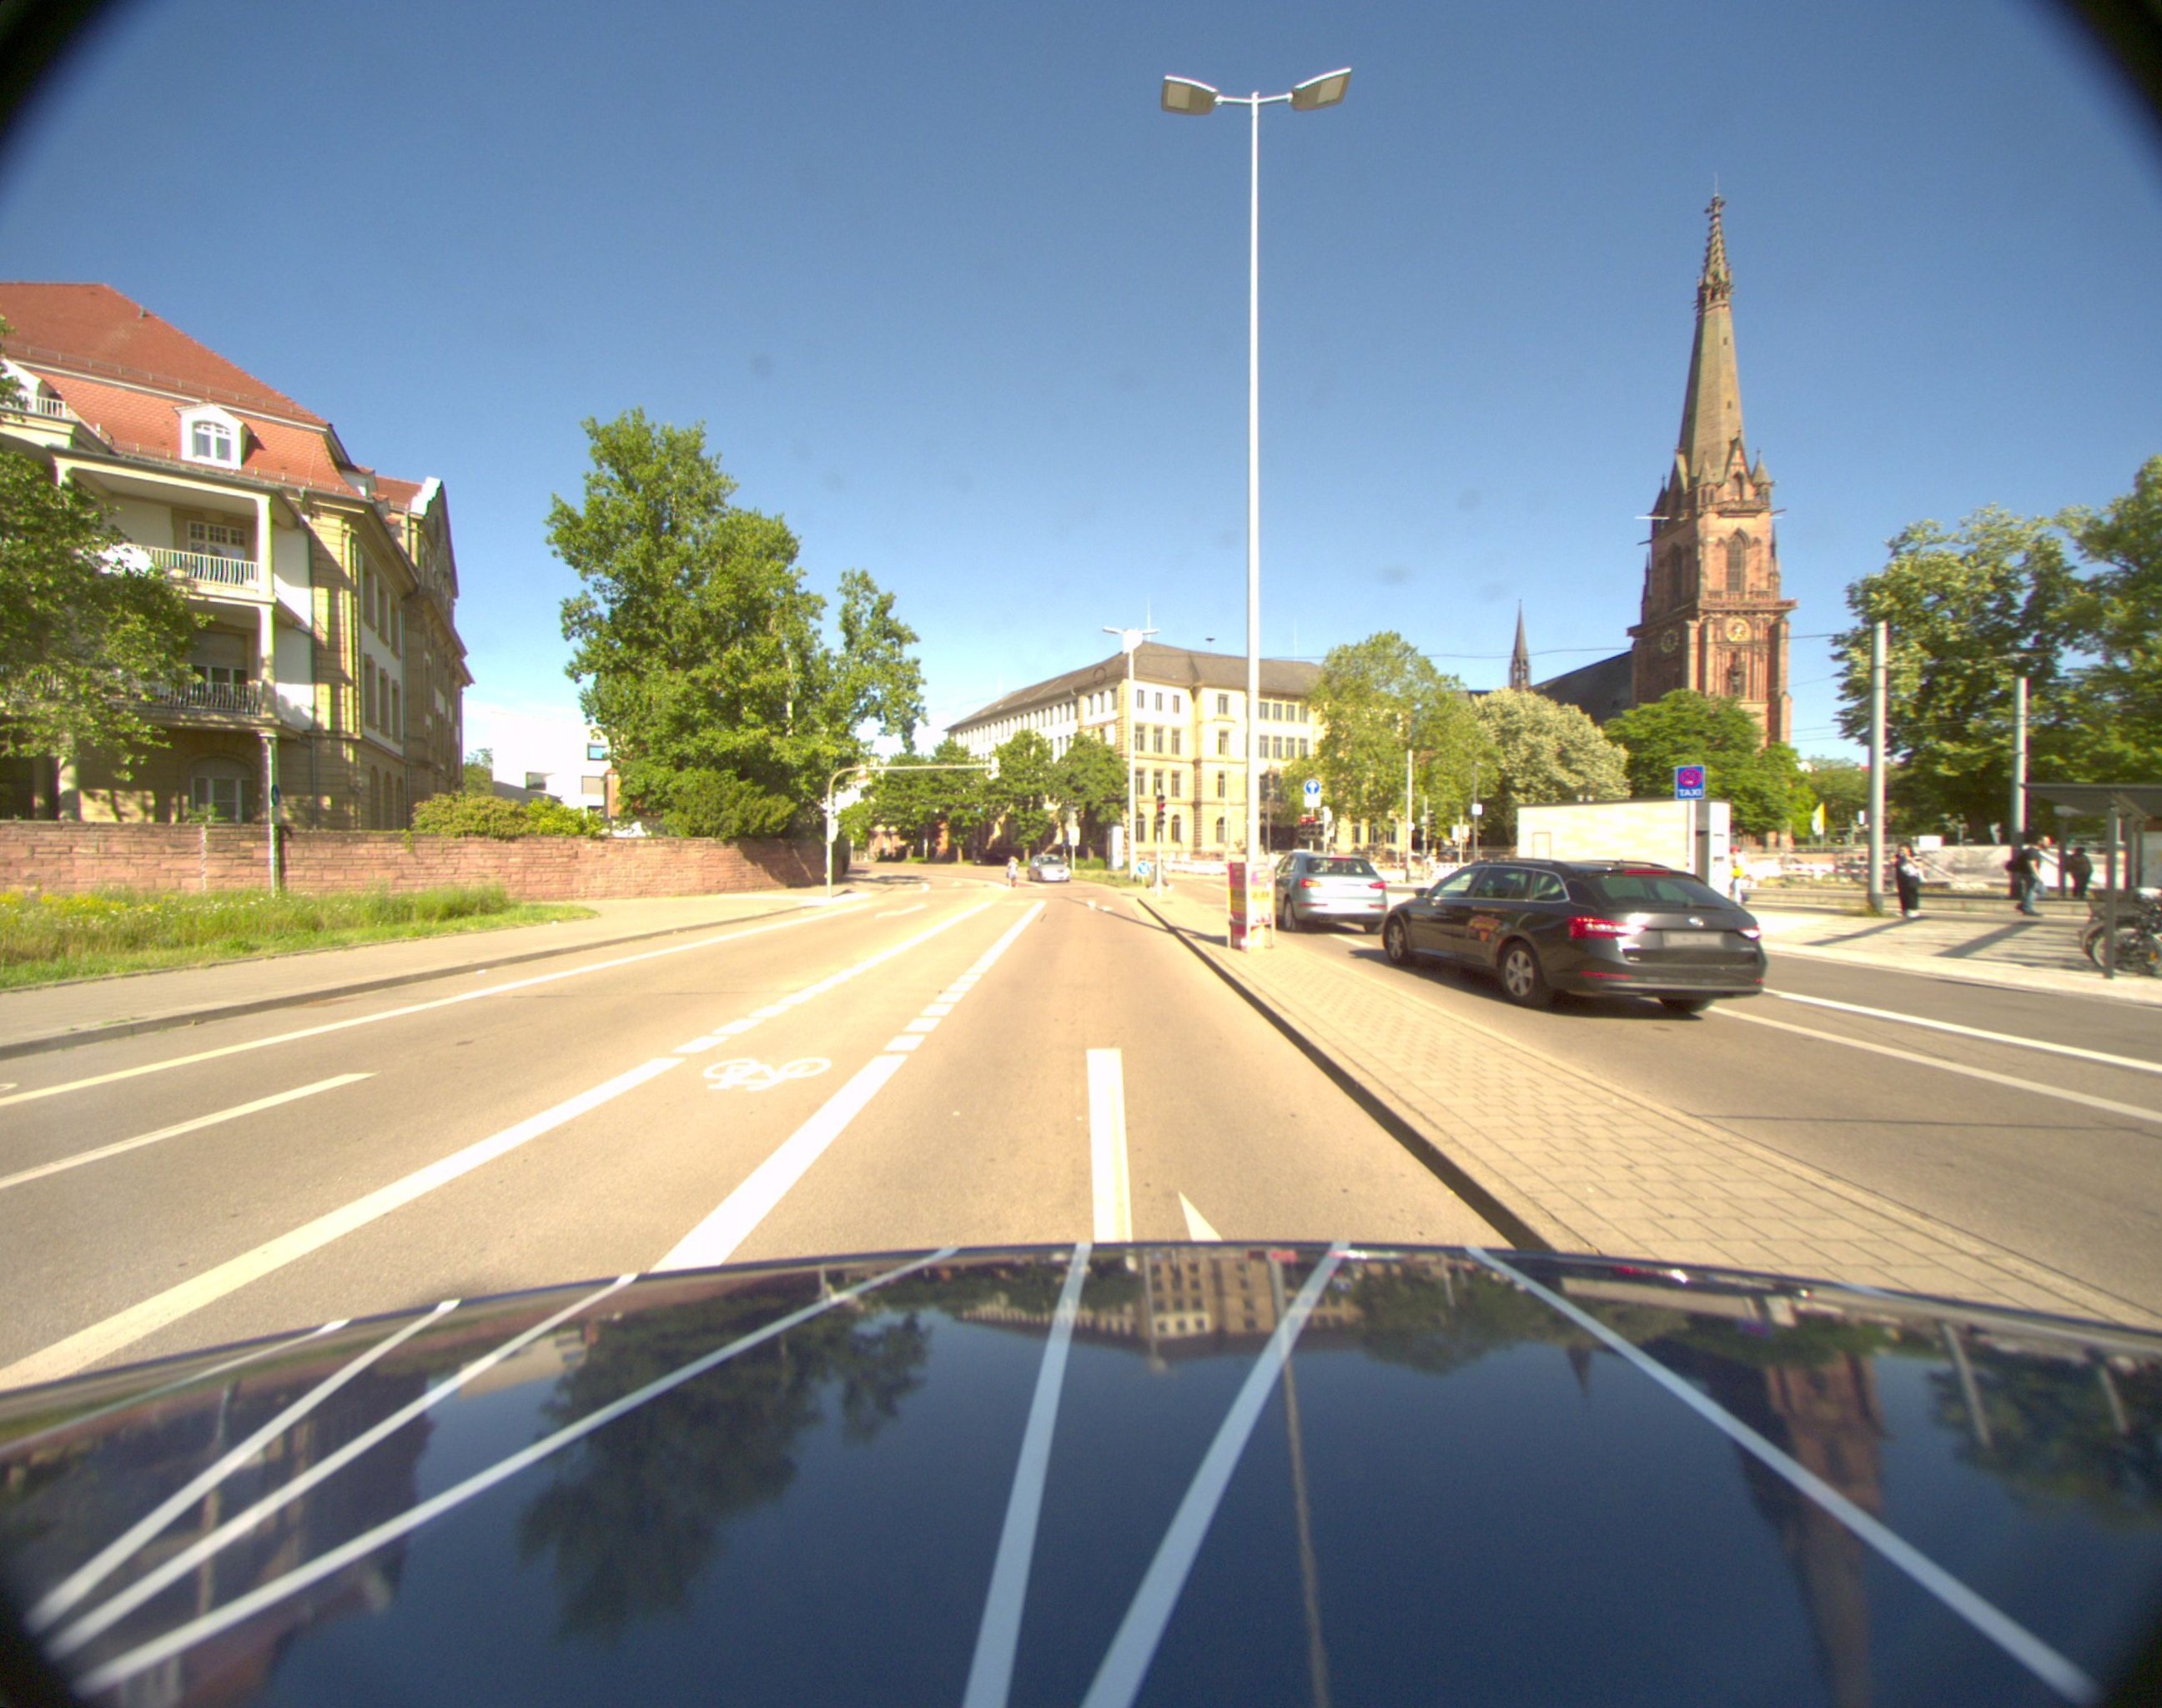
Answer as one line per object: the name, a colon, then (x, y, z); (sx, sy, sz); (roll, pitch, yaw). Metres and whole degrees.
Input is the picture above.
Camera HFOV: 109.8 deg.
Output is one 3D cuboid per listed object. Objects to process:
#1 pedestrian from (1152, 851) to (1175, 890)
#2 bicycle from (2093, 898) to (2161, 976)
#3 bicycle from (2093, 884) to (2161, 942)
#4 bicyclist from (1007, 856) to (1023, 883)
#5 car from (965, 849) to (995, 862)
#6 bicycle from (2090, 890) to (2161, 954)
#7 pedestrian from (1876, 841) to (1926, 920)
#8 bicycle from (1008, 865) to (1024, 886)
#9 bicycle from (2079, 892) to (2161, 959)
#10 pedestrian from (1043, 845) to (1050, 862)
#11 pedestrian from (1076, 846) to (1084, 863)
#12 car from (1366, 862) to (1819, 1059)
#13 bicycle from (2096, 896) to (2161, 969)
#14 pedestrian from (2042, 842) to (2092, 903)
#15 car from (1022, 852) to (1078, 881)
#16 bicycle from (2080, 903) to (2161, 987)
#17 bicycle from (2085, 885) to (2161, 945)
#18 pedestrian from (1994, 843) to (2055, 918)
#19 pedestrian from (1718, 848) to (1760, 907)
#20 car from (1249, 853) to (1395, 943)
pedestrian: (3.548, 0.701, 32.684); (0.932, 1.657, 0.630); (0, 1, -1)
bicycle: (15.029, 1.168, 10.204); (0.407, 0.993, 1.678); (-3, 3, -33)
bicycle: (19.513, 1.067, 13.575); (0.407, 0.993, 1.679); (-3, 2, -33)
bicyclist: (-3.444, 0.805, 39.713); (0.741, 1.363, 0.626); (-2, 1, -6)
car: (-12.034, 0.144, 90.358); (1.839, 1.587, 3.989); (-1, 1, -37)
bicycle: (17.964, 1.139, 12.455); (0.407, 0.993, 1.679); (-3, 2, -33)
pedestrian: (19.588, 0.612, 18.149); (0.703, 1.849, 0.619); (-1, 1, -26)
bicycle: (-3.427, 1.122, 39.732); (0.741, 0.989, 2.305); (-2, 1, -6)
bicycle: (17.184, 1.143, 12.008); (0.407, 0.993, 1.679); (-3, 2, -33)
pedestrian: (-3.954, -0.054, 86.714); (0.557, 2.002, 0.645); (-1, 1, -37)
pedestrian: (-0.087, 0.047, 78.803); (0.540, 1.710, 0.545); (-1, 1, -37)
car: (5.087, 0.901, 8.613); (1.818, 1.496, 4.783); (2, 0, -1)
bicycle: (16.128, 1.184, 10.995); (0.407, 0.993, 1.678); (-3, 3, -33)
pedestrian: (30.499, 0.553, 23.507); (0.619, 1.849, 0.703); (0, 1, 11)
car: (-1.922, 0.716, 45.168); (2.001, 1.580, 4.844); (-3, 1, -19)
bicycle: (13.984, 1.190, 9.547); (0.407, 0.993, 1.678); (-3, 3, -33)
bicycle: (19.027, 1.086, 13.333); (0.407, 0.993, 1.679); (-3, 2, -33)
pedestrian: (22.024, 0.600, 17.741); (0.622, 1.717, 0.831); (-1, 1, -36)
pedestrian: (18.420, 0.648, 21.269); (0.621, 1.613, 0.700); (-1, 1, -30)
car: (4.815, 0.788, 15.835); (1.792, 1.572, 4.258); (1, 0, 2)
